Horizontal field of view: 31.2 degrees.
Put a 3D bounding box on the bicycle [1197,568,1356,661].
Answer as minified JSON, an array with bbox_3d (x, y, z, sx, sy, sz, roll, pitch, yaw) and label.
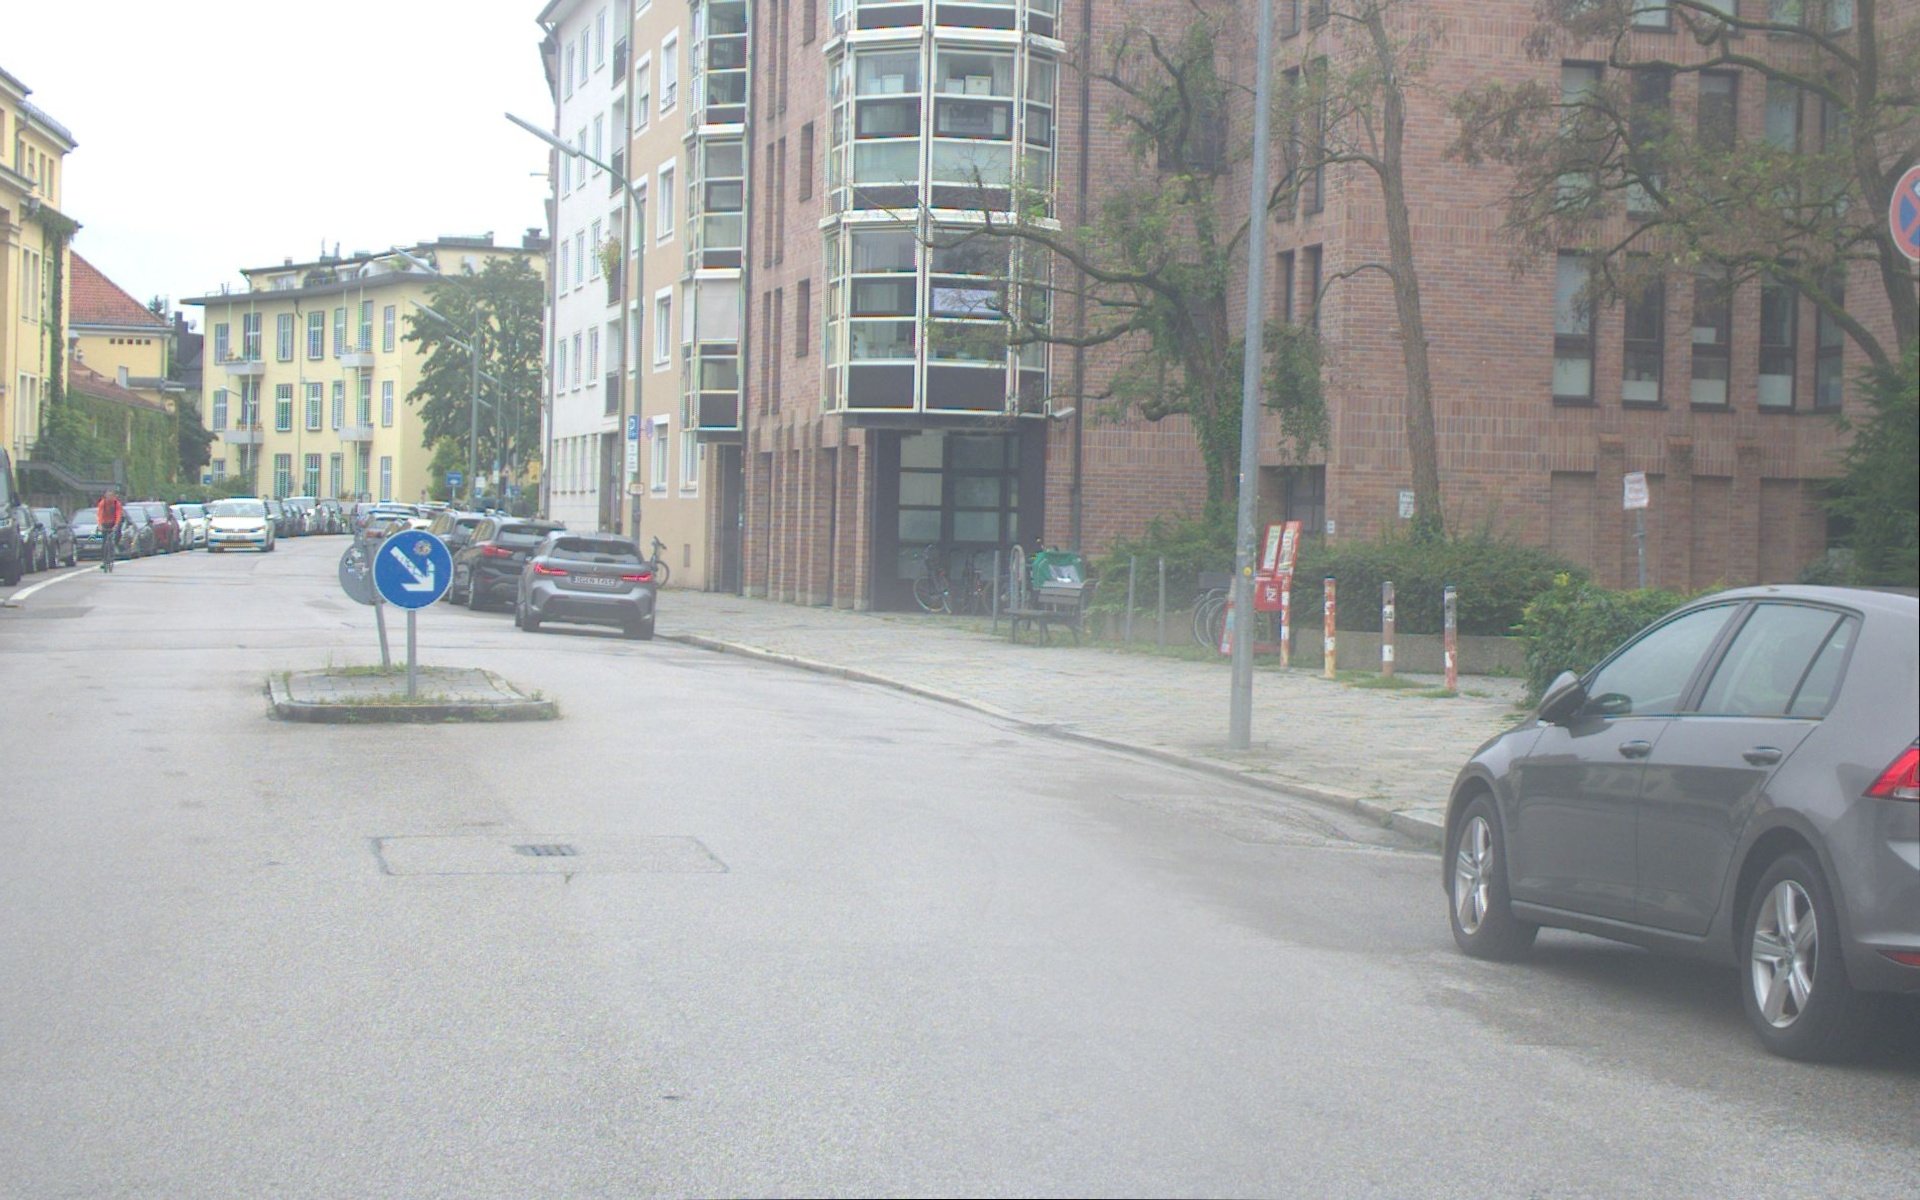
[{"bbox_3d":[3.683,0.168,40.032,1.700,0.962,0.546,3,2,-11],"label":"bicycle"}]

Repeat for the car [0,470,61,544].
[{"bbox_3d":[-20.375,-2.031,73.861,1.698,1.448,3.743,3,2,-10],"label":"car"}]

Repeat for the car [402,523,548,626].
[{"bbox_3d":[-8.958,-0.498,63.202,1.963,1.596,4.673,3,2,-16],"label":"car"}]

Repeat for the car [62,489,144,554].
[{"bbox_3d":[-22.974,-2.122,92.291,1.772,1.545,3.780,3,2,-10],"label":"car"}]

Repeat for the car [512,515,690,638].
[{"bbox_3d":[-5.063,-0.366,48.026,1.924,1.507,4.393,3,1,-12],"label":"car"}]

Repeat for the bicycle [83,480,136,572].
[{"bbox_3d":[-19.078,-1.683,77.139,0.748,2.006,2.848,-1,2,-6],"label":"bicycle"}]

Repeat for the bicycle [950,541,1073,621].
[{"bbox_3d":[0.815,-0.302,54.670,1.848,1.143,0.488,3,2,-6],"label":"bicycle"}]

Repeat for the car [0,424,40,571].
[{"bbox_3d":[-18.994,-1.933,66.033,2.421,2.706,5.955,0,1,-14],"label":"car"}]

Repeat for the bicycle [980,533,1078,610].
[{"bbox_3d":[1.105,-0.462,55.182,1.476,1.143,0.383,3,2,-6],"label":"bicycle"}]

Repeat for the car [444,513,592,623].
[{"bbox_3d":[-7.549,-0.573,58.414,1.829,1.596,4.268,3,2,-16],"label":"car"}]

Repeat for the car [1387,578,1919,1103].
[{"bbox_3d":[2.969,0.688,11.535,1.754,1.391,4.046,3,0,-12],"label":"car"}]

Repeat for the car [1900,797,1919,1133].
[{"bbox_3d":[3.649,0.689,6.824,1.658,1.560,4.516,3,1,-9],"label":"car"}]

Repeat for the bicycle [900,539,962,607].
[{"bbox_3d":[-0.485,-0.445,56.172,0.486,1.056,1.996,3,1,-15],"label":"bicycle"}]

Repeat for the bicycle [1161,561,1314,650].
[{"bbox_3d":[3.349,0.063,41.466,1.700,0.962,0.546,3,2,-11],"label":"bicycle"}]

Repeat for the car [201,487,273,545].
[{"bbox_3d":[-21.578,-2.500,102.736,2.025,1.616,4.506,-1,0,-11],"label":"car"}]

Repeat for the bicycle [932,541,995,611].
[{"bbox_3d":[0.048,-0.399,56.292,0.486,1.056,1.996,3,1,-15],"label":"bicycle"}]

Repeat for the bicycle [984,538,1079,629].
[{"bbox_3d":[0.995,-0.249,48.839,0.534,1.244,2.414,3,0,-18],"label":"bicycle"}]

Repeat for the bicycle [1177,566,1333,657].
[{"bbox_3d":[3.503,0.136,40.813,1.700,0.962,0.546,3,2,-11],"label":"bicycle"}]

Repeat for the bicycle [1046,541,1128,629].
[{"bbox_3d":[1.748,-0.209,47.160,0.421,1.169,1.359,5,2,32],"label":"bicycle"}]

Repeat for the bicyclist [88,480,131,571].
[{"bbox_3d":[-19.098,-1.672,77.185,0.766,2.006,0.768,-2,2,-7],"label":"bicyclist"}]
